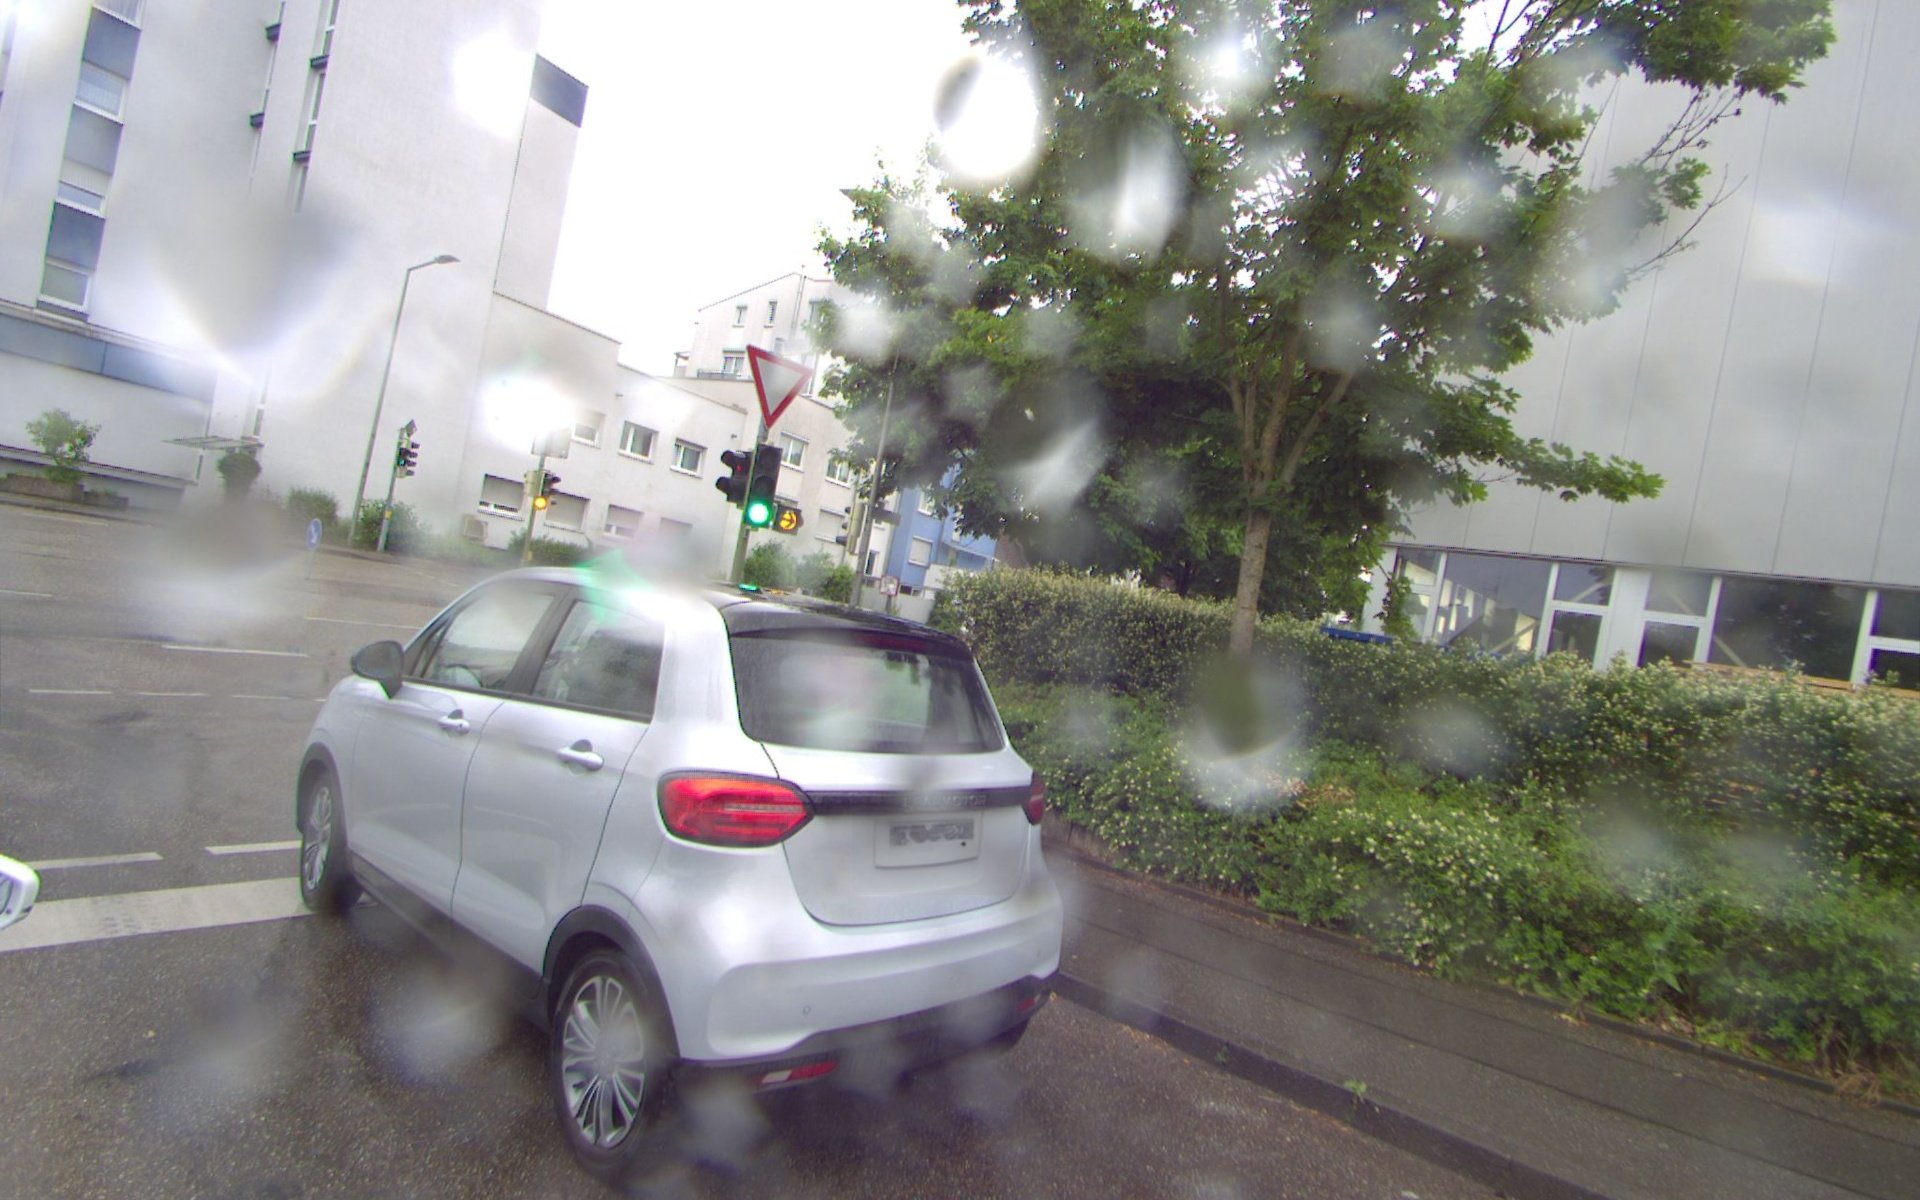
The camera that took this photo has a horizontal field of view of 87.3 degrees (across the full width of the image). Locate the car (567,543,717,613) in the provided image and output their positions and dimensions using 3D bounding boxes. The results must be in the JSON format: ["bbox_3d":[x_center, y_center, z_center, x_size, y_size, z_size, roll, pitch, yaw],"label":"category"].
[{"bbox_3d":[-10.102,-0.682,32.196,1.717,1.504,4.134,11,1,40],"label":"car"}]

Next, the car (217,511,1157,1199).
[{"bbox_3d":[-1.406,0.668,4.114,3.850,1.573,1.688,8,0,41],"label":"car"}]
